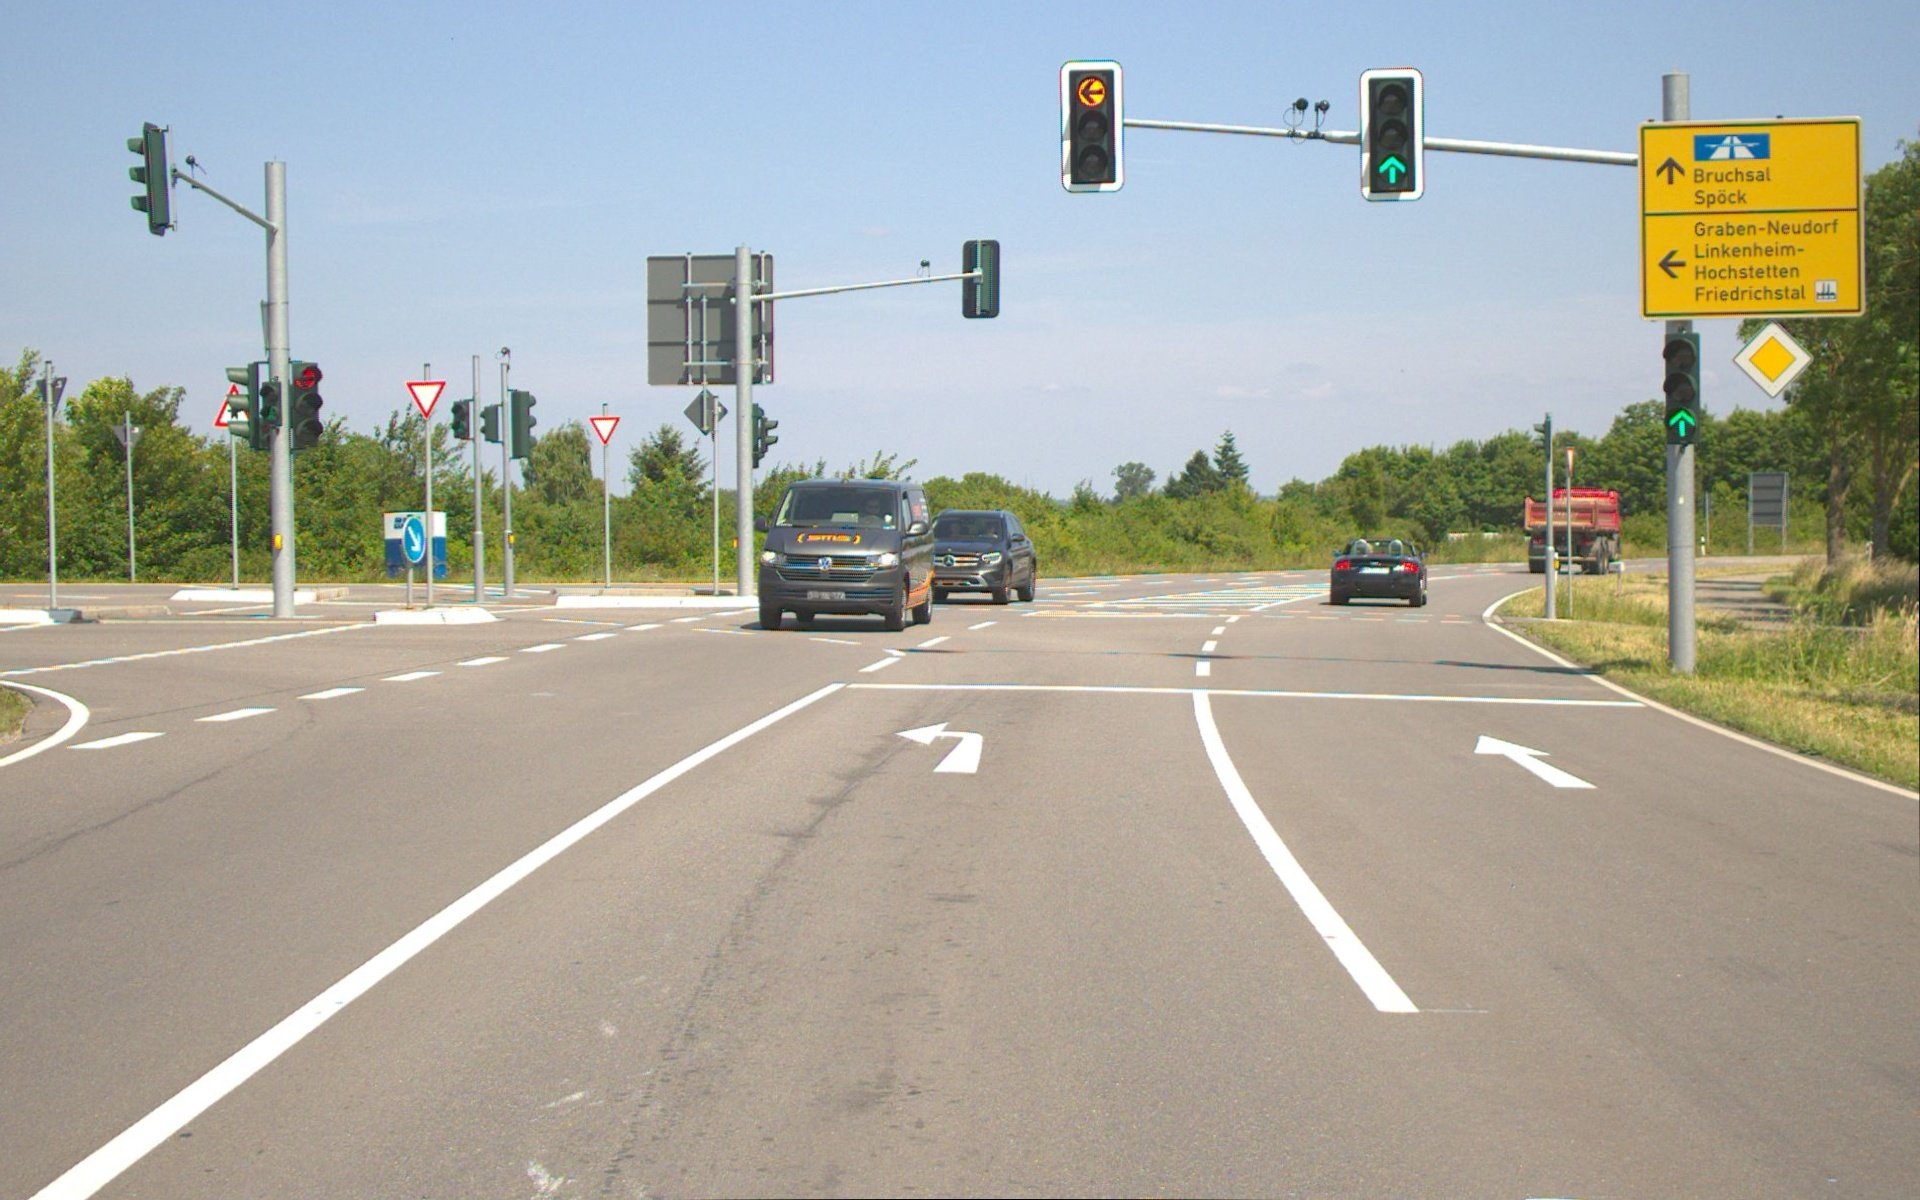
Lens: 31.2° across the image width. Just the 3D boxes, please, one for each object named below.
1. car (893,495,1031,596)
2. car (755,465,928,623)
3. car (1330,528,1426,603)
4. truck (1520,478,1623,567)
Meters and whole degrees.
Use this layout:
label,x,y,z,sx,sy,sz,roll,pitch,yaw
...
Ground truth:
label,x,y,z,sx,sy,sz,roll,pitch,yaw
car,0.076,-1.007,61.642,1.931,1.733,4.888,1,2,6
car,-1.516,-0.769,45.580,1.931,1.971,4.684,0,2,2
car,8.044,-0.655,66.317,1.748,1.371,3.678,1,0,6
truck,22.040,-2.736,123.577,2.716,3.042,8.158,0,0,17
